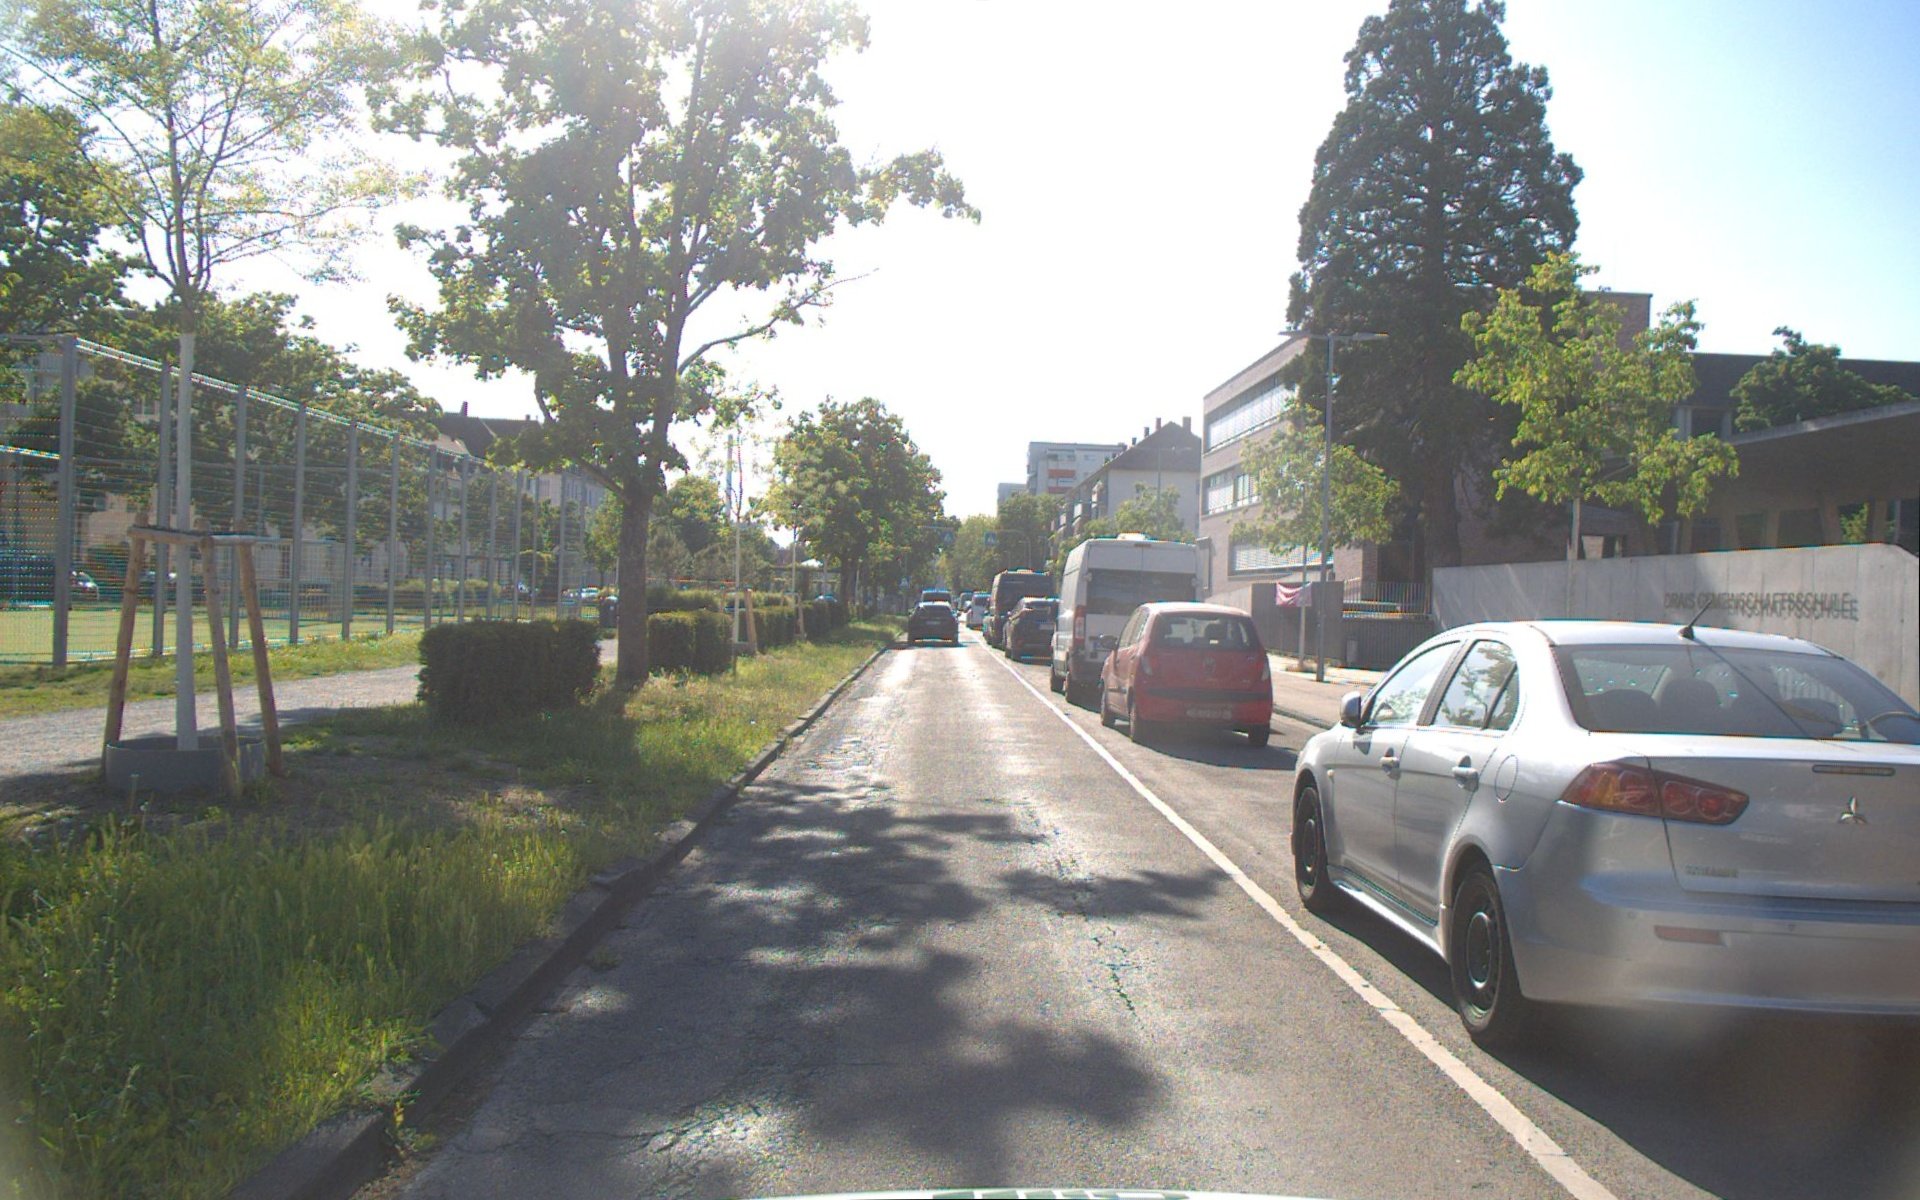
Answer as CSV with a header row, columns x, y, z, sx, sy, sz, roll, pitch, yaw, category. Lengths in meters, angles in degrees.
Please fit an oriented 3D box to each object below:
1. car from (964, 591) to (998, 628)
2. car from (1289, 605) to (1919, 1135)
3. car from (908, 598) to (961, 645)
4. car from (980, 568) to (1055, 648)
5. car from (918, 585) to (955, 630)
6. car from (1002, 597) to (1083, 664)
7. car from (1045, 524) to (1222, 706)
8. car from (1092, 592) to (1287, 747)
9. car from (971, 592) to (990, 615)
x,y,z,sx,sy,sz,roll,pitch,yaw,category
1.193,0.518,90.621,1.757,1.887,4.413,2,0,1,car
2.678,0.812,6.931,1.667,1.504,4.172,2,0,-1,car
-0.871,0.734,58.012,1.758,1.537,3.999,2,0,-1,car
1.911,0.279,57.236,2.073,2.559,6.529,2,0,-2,car
-1.169,0.395,83.454,1.758,2.159,3.999,2,0,-1,car
2.188,0.797,44.814,1.809,1.669,4.502,2,0,-2,car
2.721,0.230,27.297,2.195,2.619,5.431,2,0,-1,car
2.617,0.738,19.566,1.587,1.616,3.590,2,0,-3,car
2.375,0.389,189.186,1.953,2.472,4.499,4,0,-1,car
